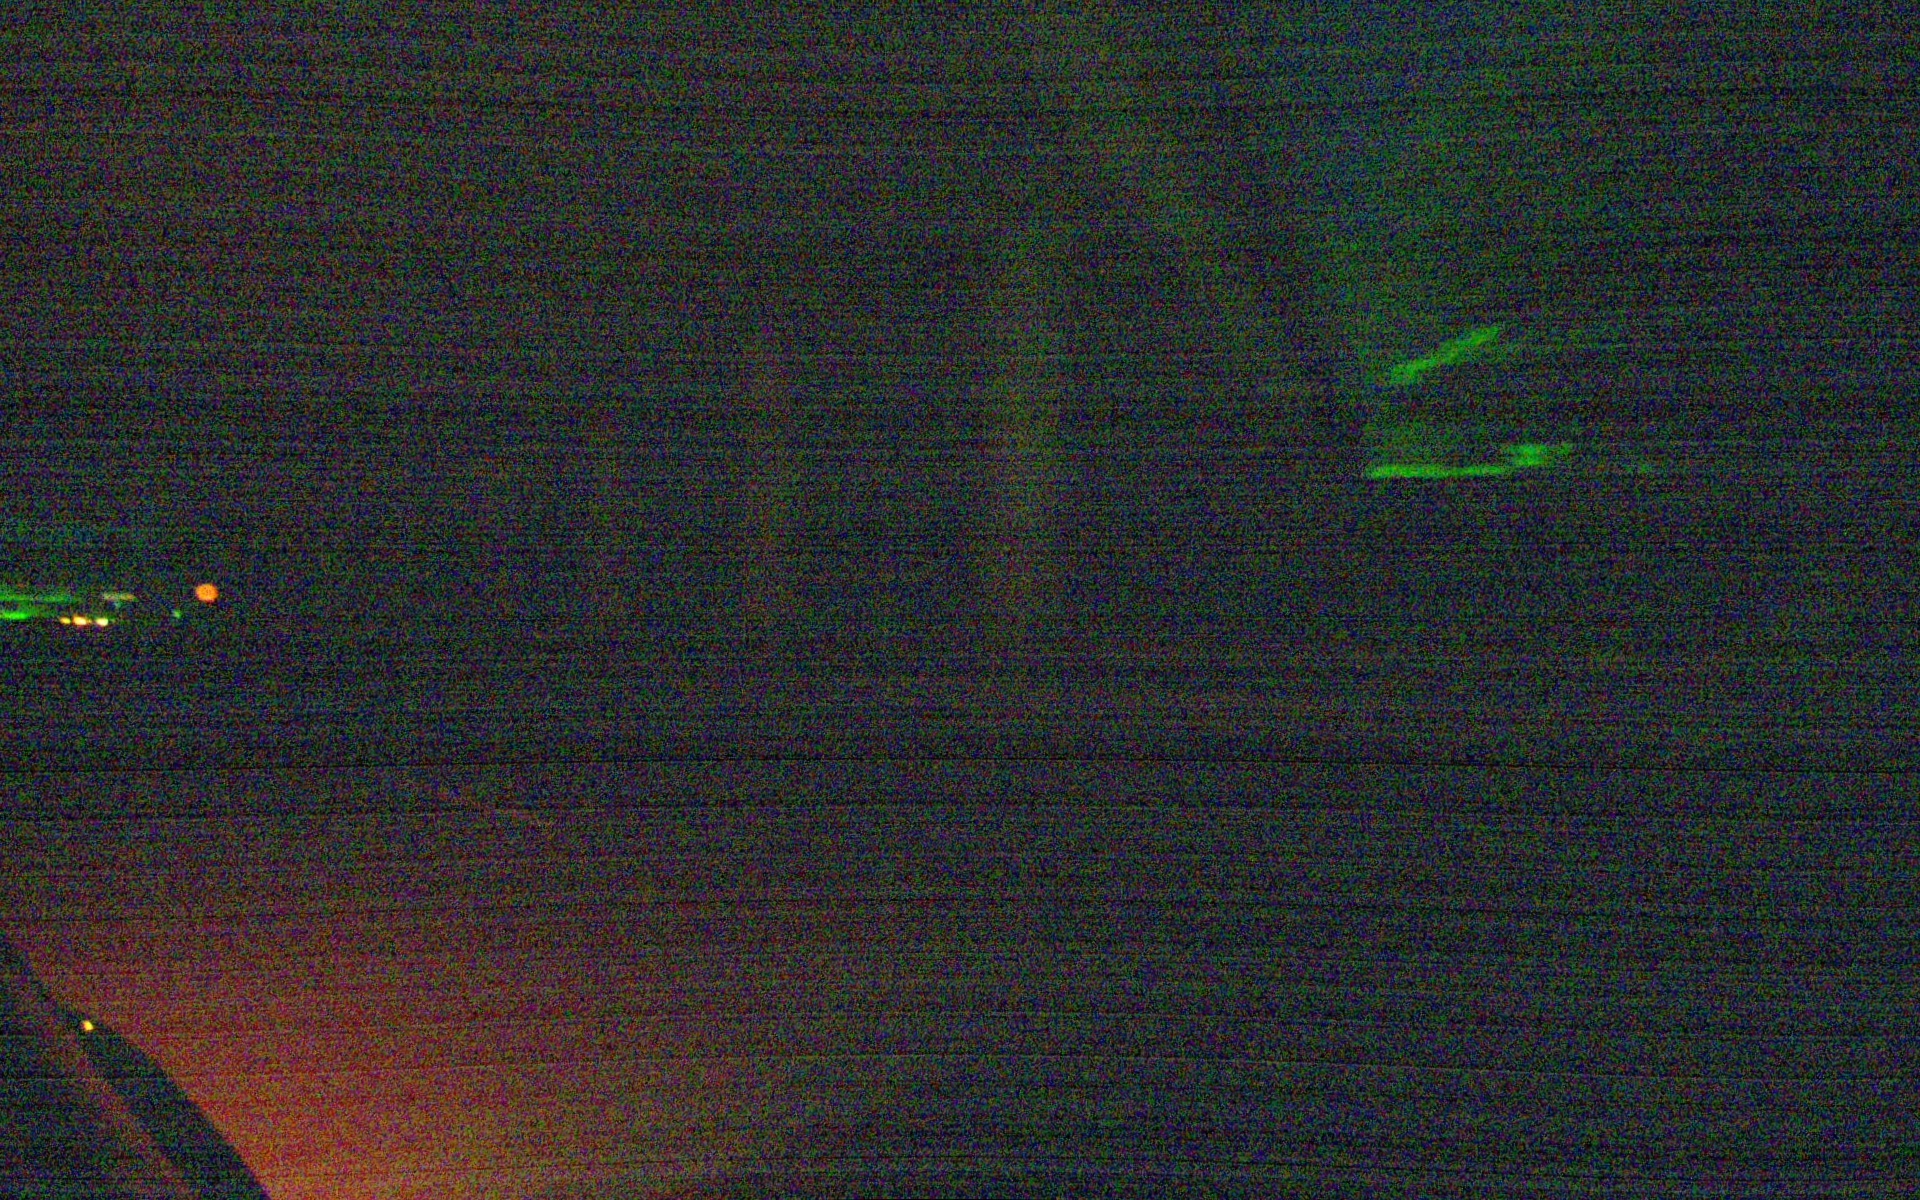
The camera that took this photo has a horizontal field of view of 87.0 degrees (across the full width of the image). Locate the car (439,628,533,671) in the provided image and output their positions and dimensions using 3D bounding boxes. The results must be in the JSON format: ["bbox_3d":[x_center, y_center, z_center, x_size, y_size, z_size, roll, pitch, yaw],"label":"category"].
[{"bbox_3d":[-17.867,1.823,38.074,4.000,1.519,1.806,-2,-1,43],"label":"car"}]

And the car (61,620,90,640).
[{"bbox_3d":[-97.192,3.262,111.185,4.608,2.029,1.972,-1,-1,43],"label":"car"}]
